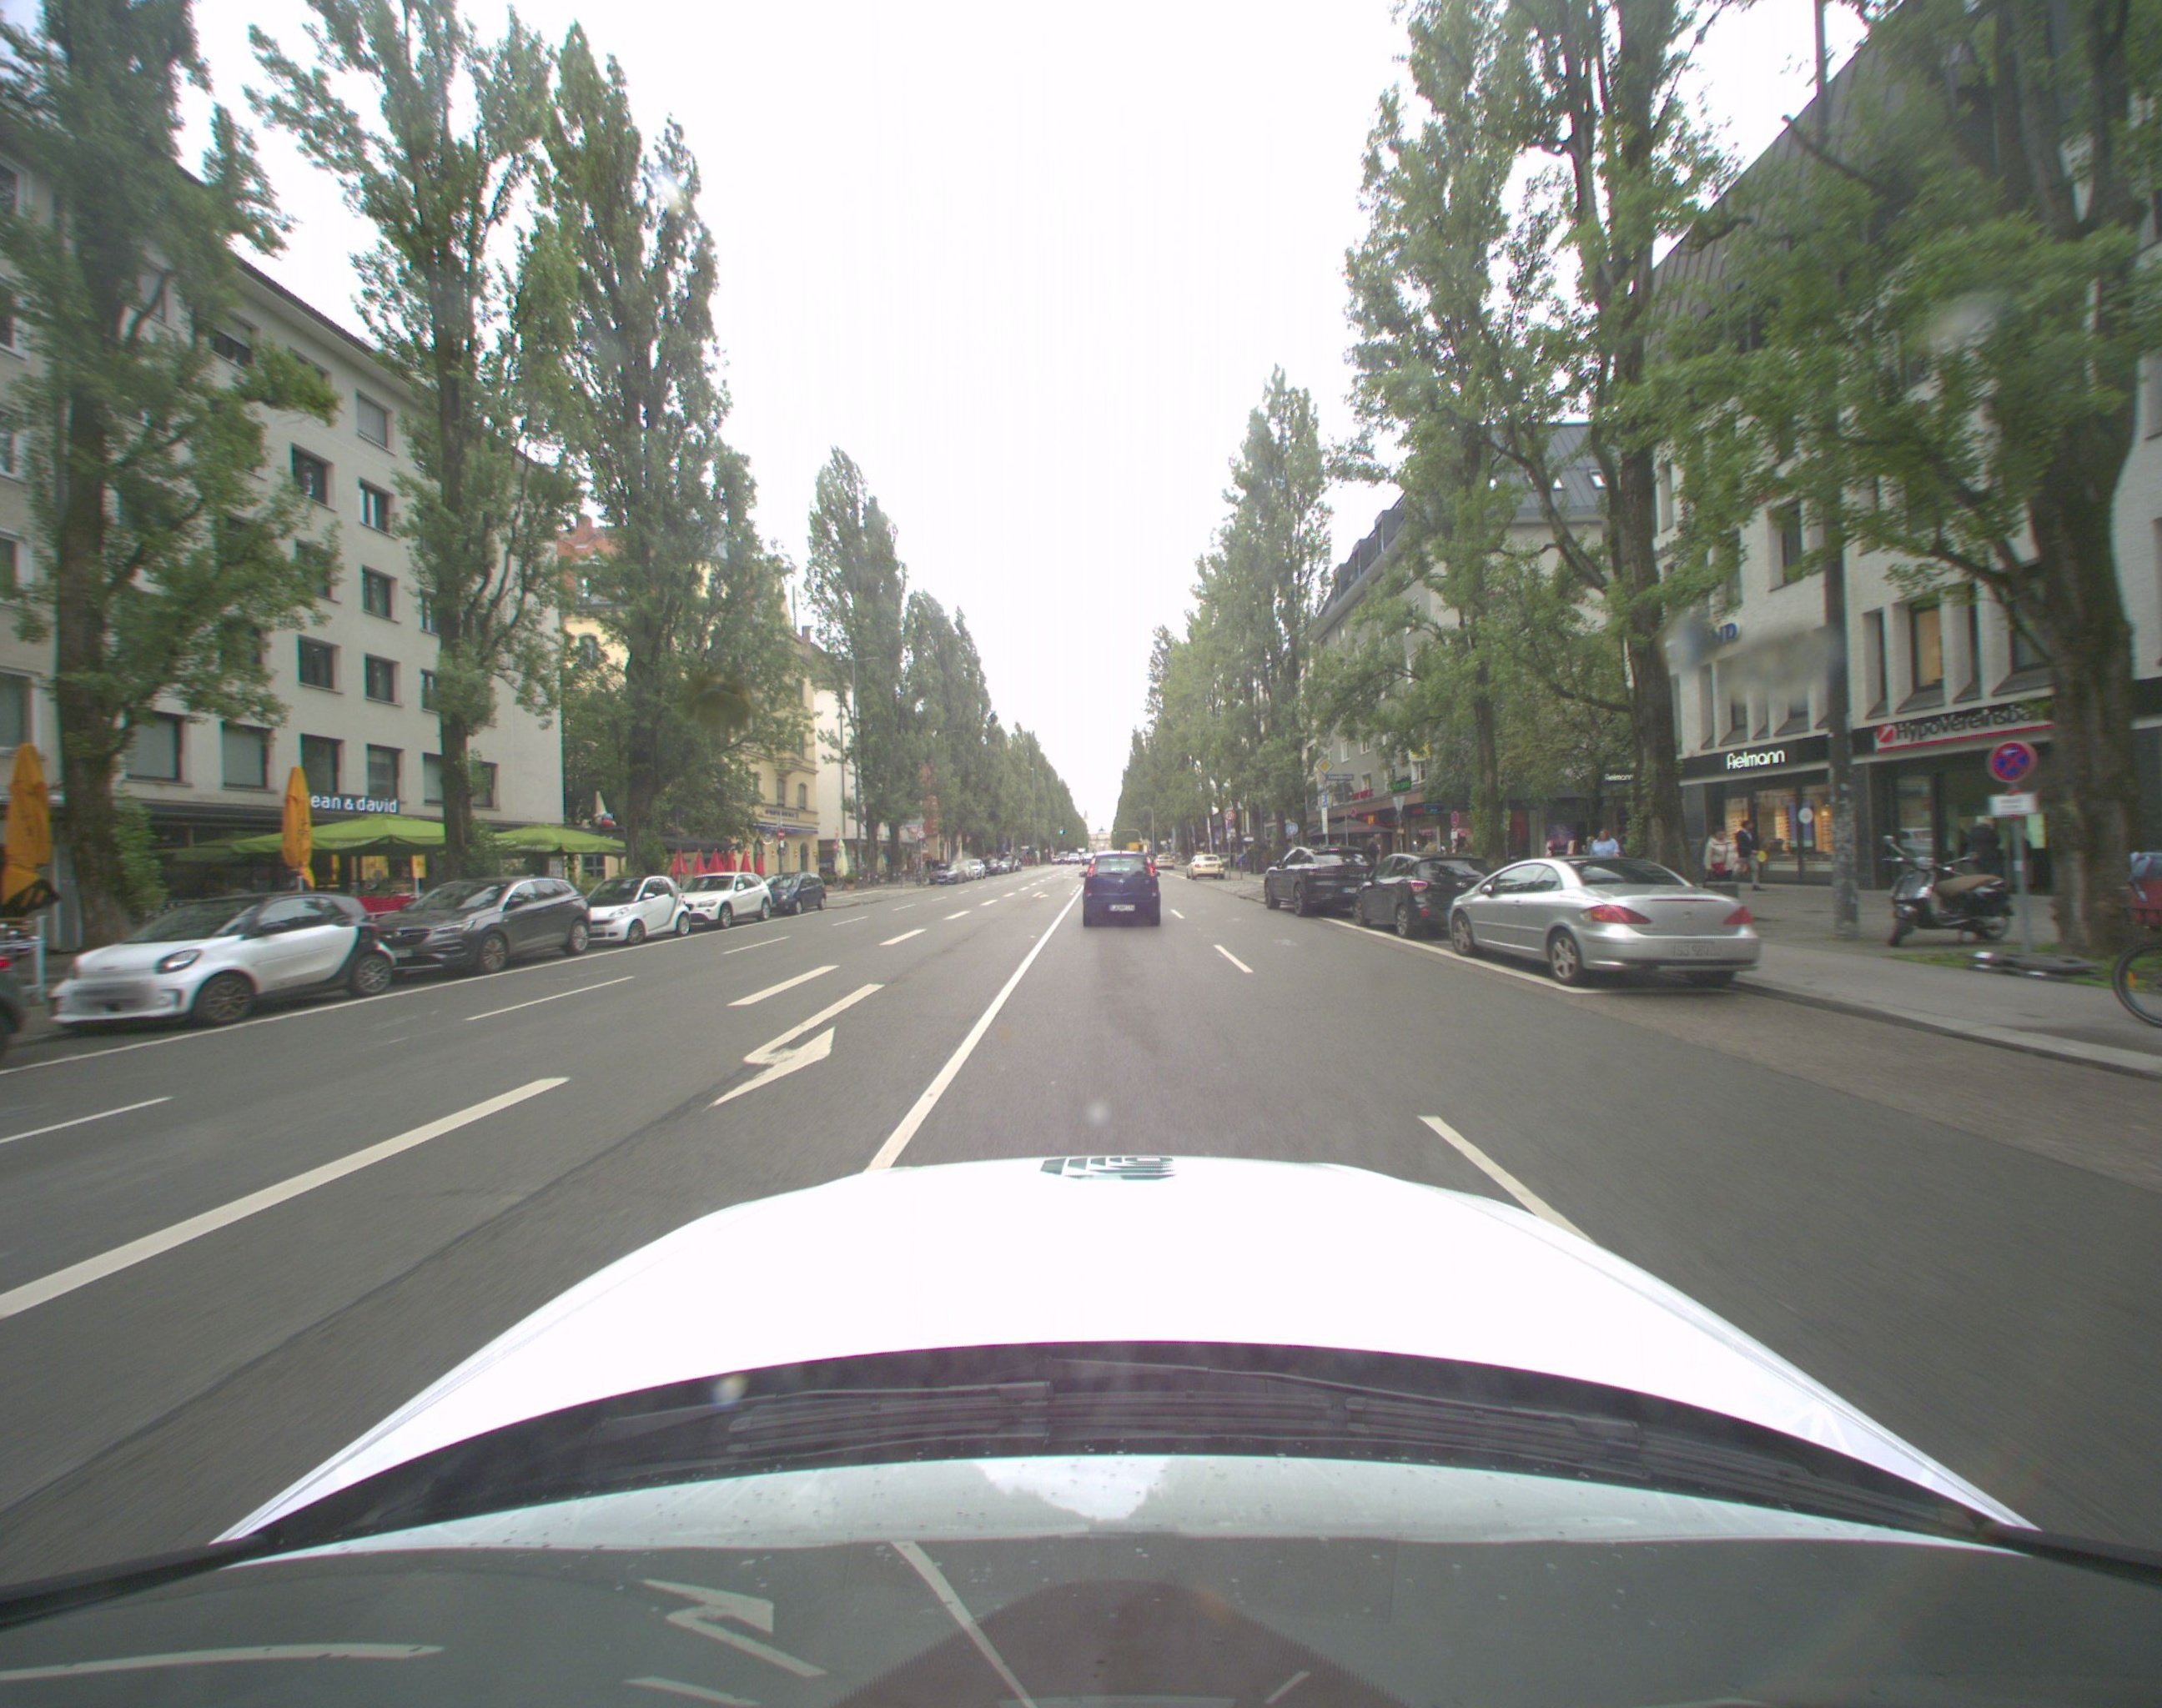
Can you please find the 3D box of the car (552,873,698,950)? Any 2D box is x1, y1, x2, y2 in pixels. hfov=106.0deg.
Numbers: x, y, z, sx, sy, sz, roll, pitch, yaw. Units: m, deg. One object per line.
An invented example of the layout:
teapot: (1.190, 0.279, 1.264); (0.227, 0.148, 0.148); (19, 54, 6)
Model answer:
car: (-10.547, 1.285, 19.058); (1.566, 1.534, 2.925); (-2, 0, 4)

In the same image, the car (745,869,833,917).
car: (-9.993, 1.297, 28.101); (1.579, 1.447, 3.394); (-2, 0, 4)

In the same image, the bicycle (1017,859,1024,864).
bicycle: (-14.220, 1.766, 192.115); (1.703, 1.134, 0.447); (-2, 0, -5)

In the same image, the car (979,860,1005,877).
car: (-8.513, 1.355, 78.325); (1.955, 1.530, 3.999); (-2, 0, 0)

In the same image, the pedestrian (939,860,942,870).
pedestrian: (-16.485, 1.287, 95.487); (0.287, 1.090, 0.259); (-2, 0, 7)

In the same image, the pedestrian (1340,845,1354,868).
pedestrian: (17.368, 0.145, 53.231); (0.682, 1.469, 0.678); (-2, 0, 1)

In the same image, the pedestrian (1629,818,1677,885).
pedestrian: (15.876, -0.066, 22.621); (0.790, 1.812, 0.682); (-2, 0, -1)

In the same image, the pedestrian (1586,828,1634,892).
pedestrian: (13.843, 0.155, 21.314); (0.739, 1.626, 0.759); (0, -1, -24)

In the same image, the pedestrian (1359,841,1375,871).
pedestrian: (15.197, 0.103, 43.259); (0.638, 1.526, 0.484); (-2, 0, 1)

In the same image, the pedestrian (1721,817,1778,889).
pedestrian: (16.802, -0.021, 20.484); (0.724, 1.751, 0.860); (-1, -1, 2)

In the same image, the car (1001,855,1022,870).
car: (-8.142, 0.964, 95.314); (1.987, 1.662, 4.000); (-2, 0, 1)

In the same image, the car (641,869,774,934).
car: (-10.349, 1.255, 22.946); (1.829, 1.546, 4.085); (-2, 0, -1)

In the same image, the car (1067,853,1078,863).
car: (-1.432, 0.728, 141.131); (1.828, 1.677, 3.779); (-2, 0, 1)

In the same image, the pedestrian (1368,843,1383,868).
pedestrian: (17.787, 0.085, 49.206); (0.638, 1.526, 0.484); (-2, 0, 1)

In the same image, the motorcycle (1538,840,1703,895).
motorcycle: (12.360, 0.296, 18.715); (3.115, 1.090, 1.191); (-2, 0, -7)

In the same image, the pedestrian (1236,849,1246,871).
pedestrian: (11.813, 0.445, 60.200); (0.650, 1.626, 0.705); (-1, -1, 6)

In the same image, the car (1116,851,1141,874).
car: (3.615, 0.637, 62.455); (1.700, 1.574, 4.001); (-3, 0, 1)

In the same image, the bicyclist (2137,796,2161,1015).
bicyclist: (8.107, 0.363, 5.612); (0.619, 1.588, 0.753); (-2, 0, 1)

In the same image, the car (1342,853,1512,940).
car: (6.242, 0.700, 15.127); (1.676, 1.415, 3.583); (0, 0, 1)

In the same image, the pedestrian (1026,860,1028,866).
pedestrian: (-9.639, 1.554, 146.158); (0.256, 1.090, 0.290); (-2, 0, 7)

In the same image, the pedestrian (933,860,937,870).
pedestrian: (-17.087, 1.293, 95.311); (0.287, 1.090, 0.259); (-2, 0, 7)

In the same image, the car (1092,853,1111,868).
car: (2.309, 0.723, 92.779); (1.987, 1.497, 4.000); (-2, 0, 1)

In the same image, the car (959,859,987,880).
car: (-8.761, 1.245, 66.441); (1.648, 1.562, 3.458); (-2, 0, 1)

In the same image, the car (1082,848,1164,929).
car: (0.890, 0.704, 18.841); (1.675, 1.641, 4.000); (-1, 0, 0)

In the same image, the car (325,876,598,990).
car: (-10.718, 1.257, 14.562); (1.837, 1.565, 4.173); (-2, 0, -4)

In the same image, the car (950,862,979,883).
car: (-8.769, 1.373, 61.535); (1.541, 1.453, 3.458); (-2, 0, 1)

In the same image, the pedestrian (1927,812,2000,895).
pedestrian: (17.952, -0.018, 16.578); (0.652, 1.626, 0.704); (-2, 0, -1)

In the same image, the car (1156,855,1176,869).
car: (8.482, 0.776, 81.759); (1.663, 1.352, 4.106); (-2, 0, 2)

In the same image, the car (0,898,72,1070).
car: (-10.811, 1.245, 5.959); (1.692, 1.550, 4.082); (-2, 0, 0)

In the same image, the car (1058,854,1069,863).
car: (-3.397, 0.819, 155.743); (1.828, 1.739, 3.779); (-2, 0, 1)

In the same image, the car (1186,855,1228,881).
car: (7.228, 0.755, 47.104); (1.890, 1.362, 3.901); (-2, 0, 2)

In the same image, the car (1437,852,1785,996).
car: (6.116, 0.688, 10.074); (1.664, 1.406, 4.128); (0, 0, 1)

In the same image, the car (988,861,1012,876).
car: (-8.349, 1.510, 84.474); (1.955, 1.399, 3.779); (-2, 0, 1)

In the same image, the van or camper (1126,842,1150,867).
van or camper: (6.397, 0.036, 92.329); (2.467, 2.581, 5.846); (-2, 0, 2)

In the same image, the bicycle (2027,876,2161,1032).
bicycle: (8.120, 0.736, 5.581); (0.624, 1.086, 2.264); (-2, 0, 1)

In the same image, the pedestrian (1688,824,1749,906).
pedestrian: (12.813, 0.215, 16.378); (0.651, 1.601, 0.705); (-1, -1, 2)

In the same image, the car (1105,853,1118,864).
car: (5.051, 0.747, 134.067); (1.955, 1.677, 3.779); (-2, 0, 1)

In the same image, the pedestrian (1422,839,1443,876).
pedestrian: (17.122, 0.179, 39.703); (0.651, 1.751, 0.860); (-1, -1, 2)

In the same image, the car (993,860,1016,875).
car: (-8.278, 1.450, 88.551); (1.955, 1.549, 3.779); (-2, 0, 1)

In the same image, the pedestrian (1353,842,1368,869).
pedestrian: (16.346, 0.086, 47.662); (0.638, 1.526, 0.484); (-2, 0, 1)

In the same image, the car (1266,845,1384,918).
car: (5.853, 0.611, 20.060); (1.791, 1.594, 4.106); (0, 0, 2)

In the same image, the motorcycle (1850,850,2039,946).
motorcycle: (11.326, 0.558, 10.715); (1.826, 1.139, 0.694); (-2, -1, -5)

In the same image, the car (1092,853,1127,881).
car: (1.653, 0.738, 48.423); (1.987, 1.497, 4.000); (-2, 0, 1)

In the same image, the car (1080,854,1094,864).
car: (0.952, 0.716, 122.526); (1.955, 1.399, 3.779); (-2, 0, 1)

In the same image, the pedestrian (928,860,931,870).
pedestrian: (-17.882, 1.309, 96.205); (0.287, 1.090, 0.259); (-2, 0, 7)

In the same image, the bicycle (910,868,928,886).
bicycle: (-9.925, 1.394, 49.935); (0.664, 1.006, 2.460); (-2, 0, -2)

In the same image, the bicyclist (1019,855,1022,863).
bicyclist: (-14.224, 1.154, 192.133); (0.618, 1.713, 0.563); (-2, 0, -5)

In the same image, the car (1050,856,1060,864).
car: (-5.609, 1.292, 175.378); (1.955, 1.549, 3.779); (-2, 0, 1)

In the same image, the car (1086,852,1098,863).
car: (1.800, 0.619, 135.016); (1.828, 1.761, 3.779); (-2, 0, 1)

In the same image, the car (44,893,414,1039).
car: (-10.783, 1.325, 10.632); (1.626, 1.428, 2.983); (-2, 0, 0)

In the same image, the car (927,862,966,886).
car: (-9.131, 1.336, 55.564); (1.824, 1.420, 3.812); (-2, 0, 1)
